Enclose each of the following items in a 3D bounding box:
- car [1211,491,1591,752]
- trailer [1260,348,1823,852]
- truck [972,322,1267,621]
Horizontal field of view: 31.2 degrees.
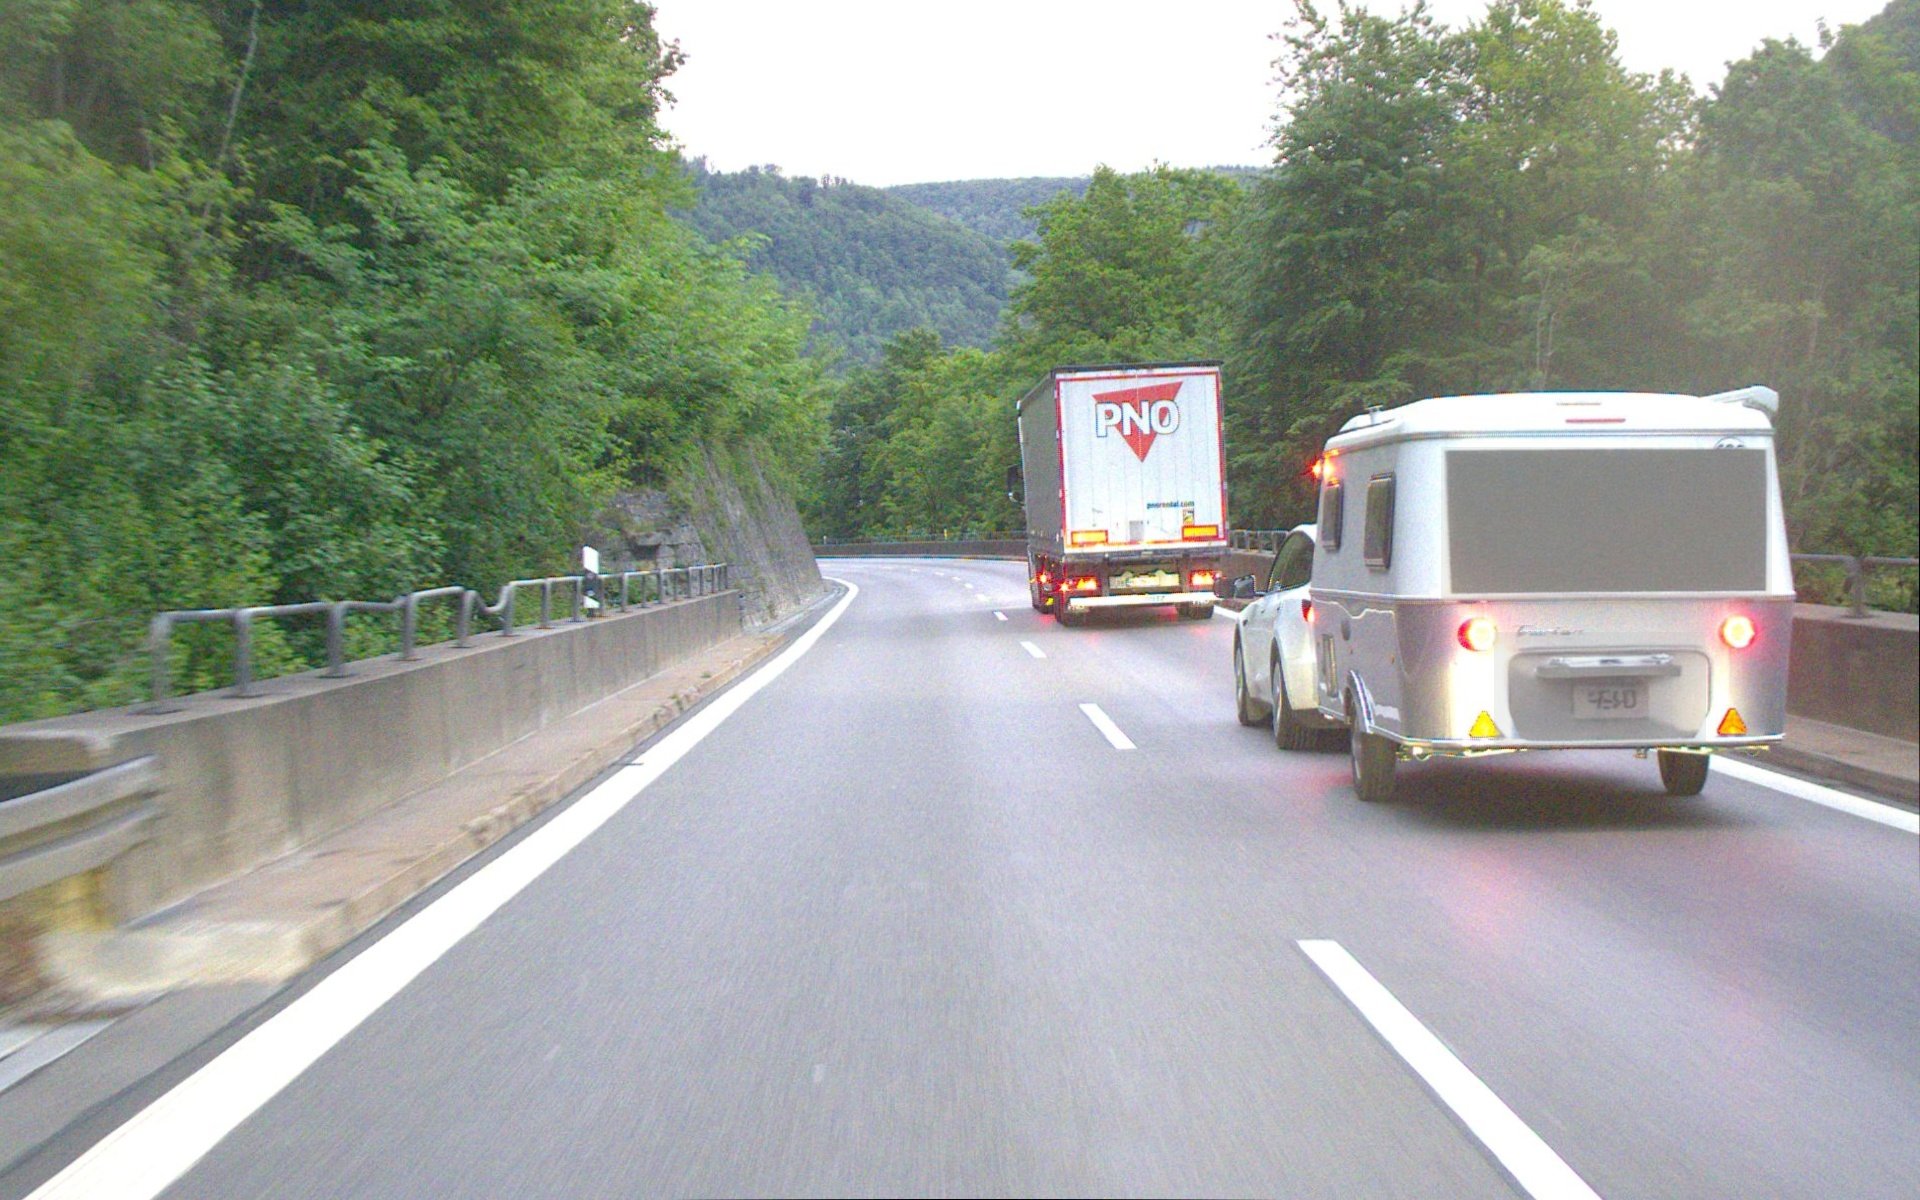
[{"bbox_3d":[3.094,0.105,25.149,1.993,1.609,4.865,-3,1,-1],"label":"car"},{"bbox_3d":[3.142,-0.060,20.009,2.054,2.366,5.938,-4,1,-1],"label":"trailer"},{"bbox_3d":[2.390,-2.007,59.043,3.294,4.158,16.505,-5,1,-2],"label":"truck"}]
